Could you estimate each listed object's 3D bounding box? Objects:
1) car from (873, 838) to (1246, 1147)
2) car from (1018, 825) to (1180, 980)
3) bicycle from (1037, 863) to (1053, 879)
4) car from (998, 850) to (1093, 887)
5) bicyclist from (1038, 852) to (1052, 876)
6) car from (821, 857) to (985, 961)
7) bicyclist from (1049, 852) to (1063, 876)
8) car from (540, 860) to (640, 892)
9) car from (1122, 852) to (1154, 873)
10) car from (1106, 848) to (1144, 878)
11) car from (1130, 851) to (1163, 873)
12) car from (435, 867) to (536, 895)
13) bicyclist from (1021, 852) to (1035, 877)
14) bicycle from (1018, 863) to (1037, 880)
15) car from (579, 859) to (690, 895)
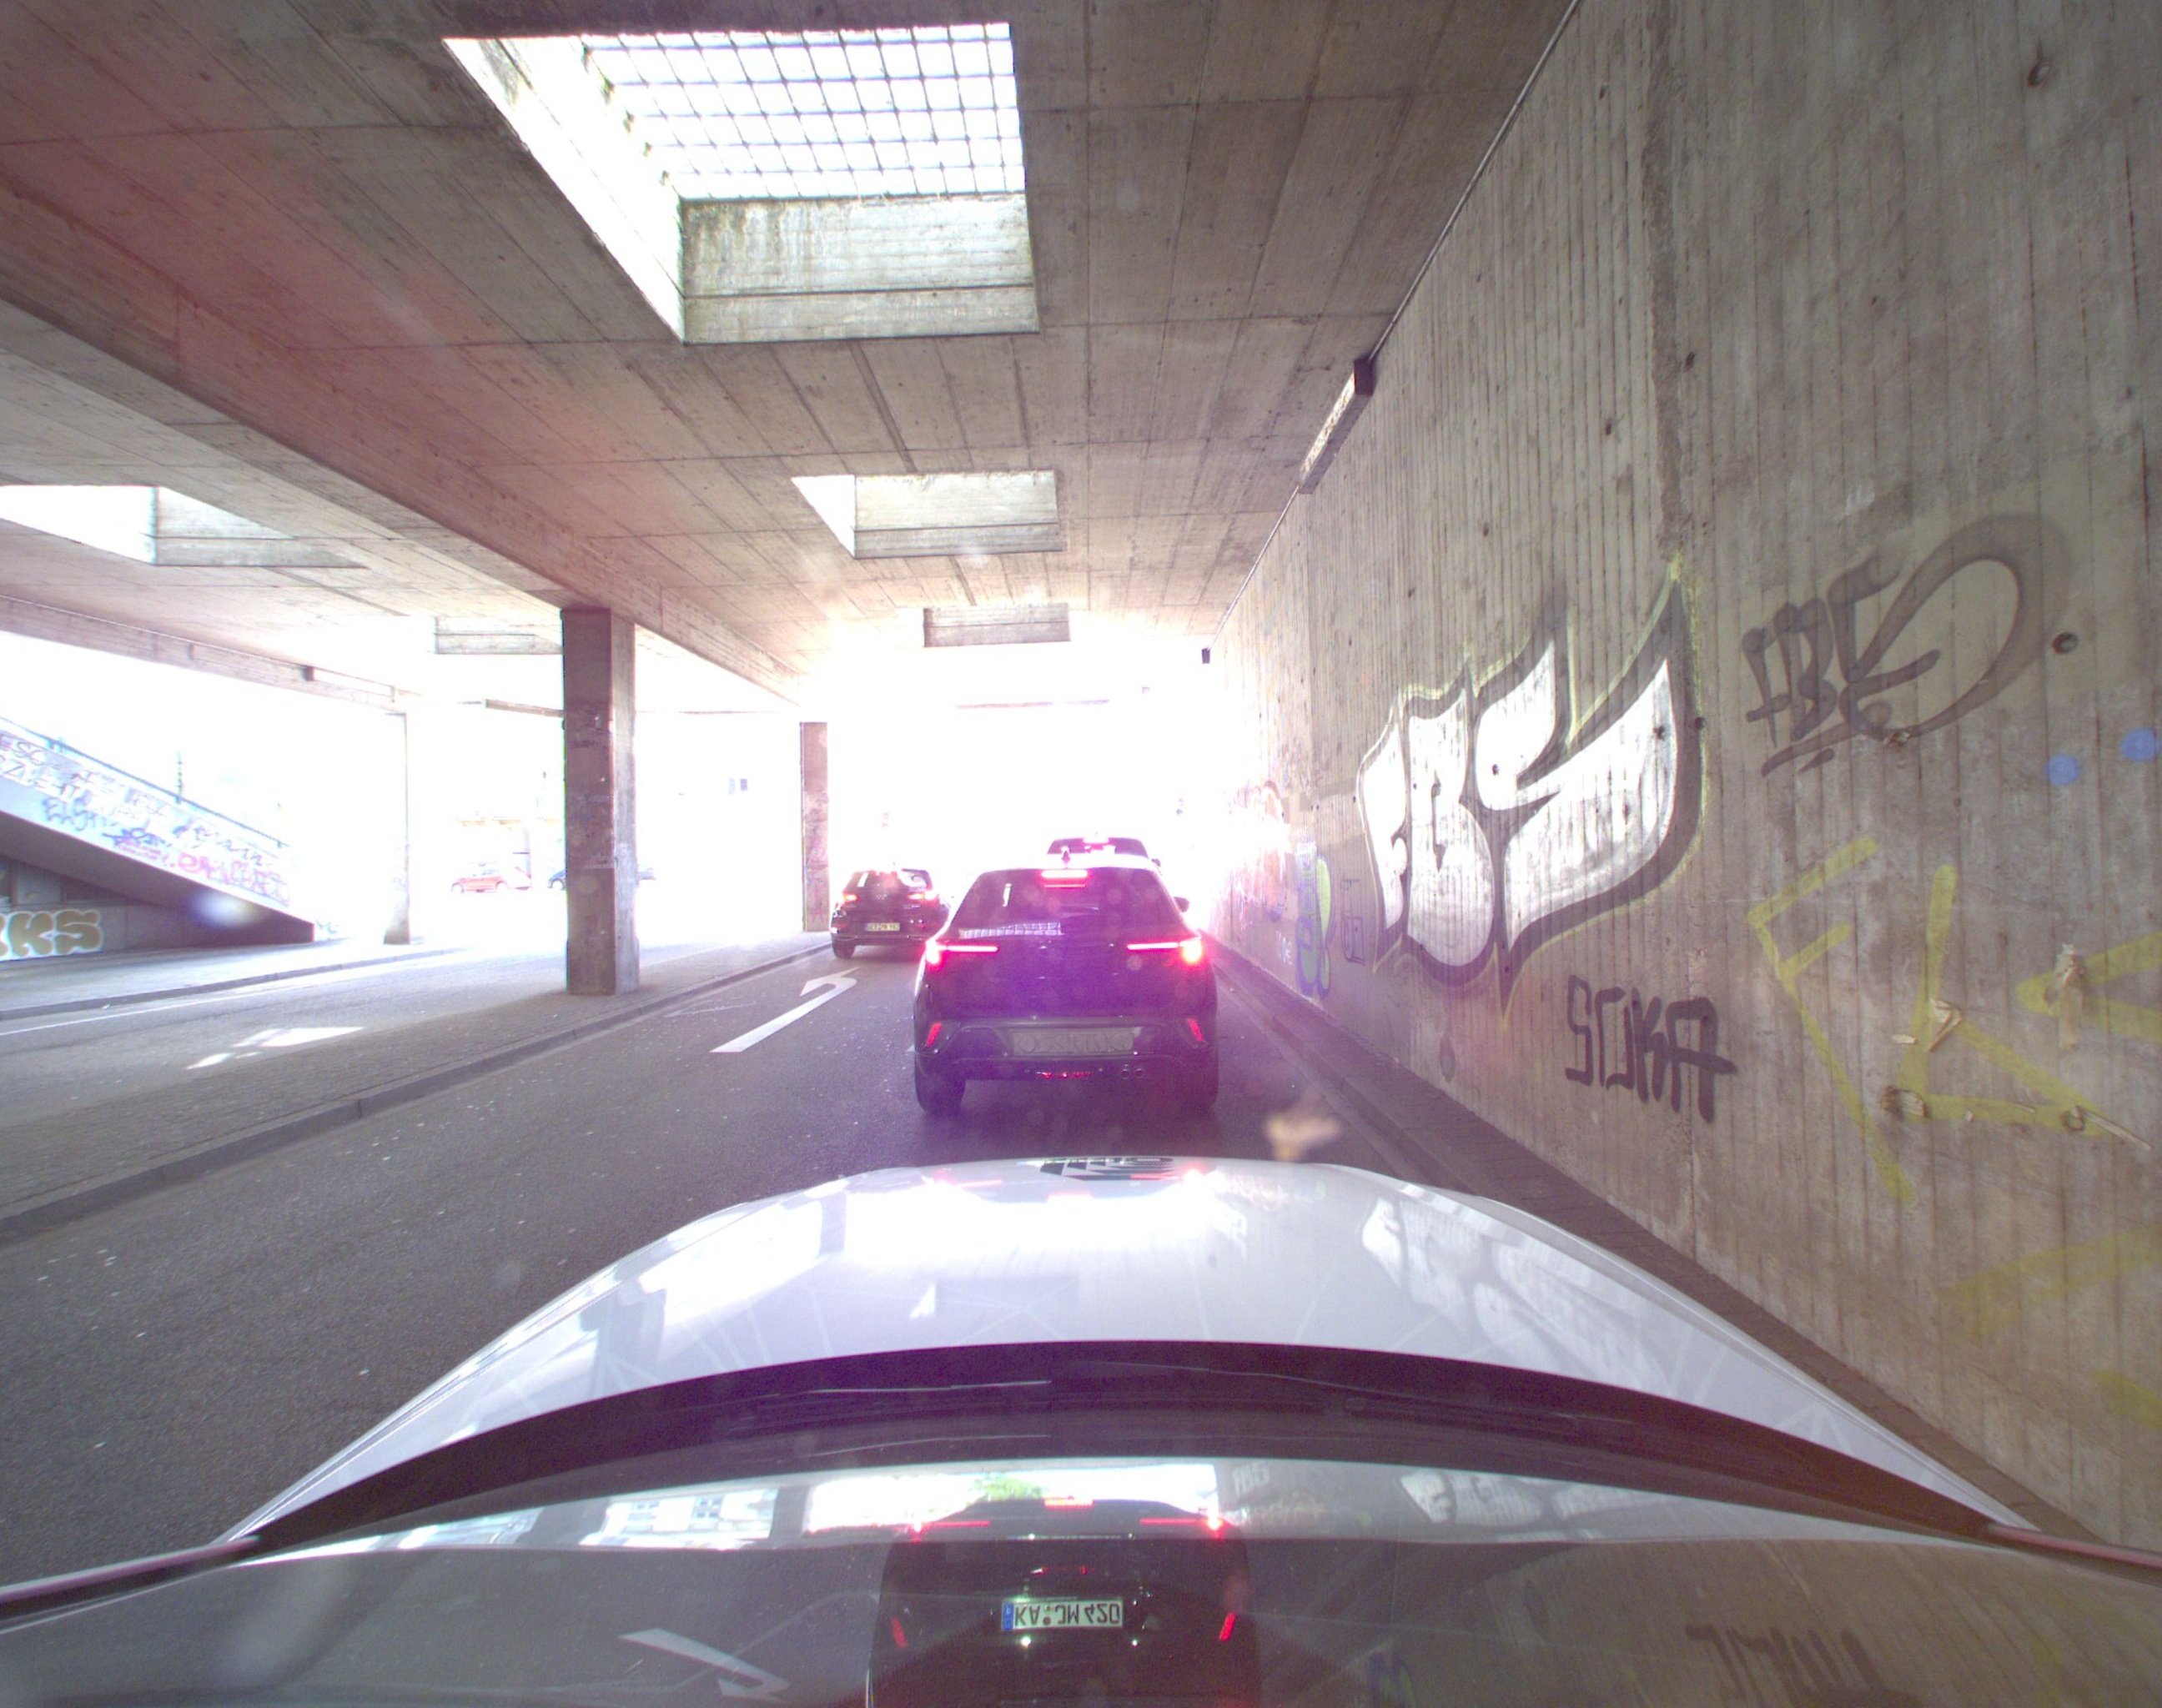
[{"bbox_3d":[-0.051,0.712,6.171,1.875,1.538,3.966,-2,0,2],"label":"car"},{"bbox_3d":[0.282,0.595,11.992,1.938,1.860,3.966,-2,0,2],"label":"car"},{"bbox_3d":[-2.410,1.112,54.688,0.621,1.067,1.694,-1,-1,11],"label":"bicycle"},{"bbox_3d":[-1.583,0.635,37.307,3.961,1.552,2.006,-1,0,10],"label":"car"},{"bbox_3d":[-2.417,0.667,54.643,0.724,1.581,0.817,-1,-1,11],"label":"bicyclist"},{"bbox_3d":[-2.782,0.794,13.675,1.773,1.447,4.178,0,0,1],"label":"car"},{"bbox_3d":[-1.621,0.641,52.196,0.724,1.581,0.817,-1,-1,11],"label":"bicyclist"},{"bbox_3d":[-27.205,1.202,45.227,4.114,1.550,2.268,-2,0,1],"label":"car"},{"bbox_3d":[4.411,0.642,62.234,1.955,1.497,3.908,-2,-2,11],"label":"car"},{"bbox_3d":[2.410,0.502,44.250,1.959,1.497,3.900,-2,-2,4],"label":"car"},{"bbox_3d":[5.594,0.686,69.020,2.206,1.719,4.474,-2,-2,12],"label":"car"},{"bbox_3d":[-33.009,1.496,45.228,3.970,1.374,2.192,-2,0,3],"label":"car"},{"bbox_3d":[-3.375,0.652,51.763,0.724,1.581,0.817,-1,-1,11],"label":"bicyclist"},{"bbox_3d":[-3.385,1.109,51.728,0.727,1.067,1.694,-1,-1,11],"label":"bicycle"},{"bbox_3d":[-21.457,1.085,39.215,4.362,1.552,1.886,-1,0,6],"label":"car"}]
